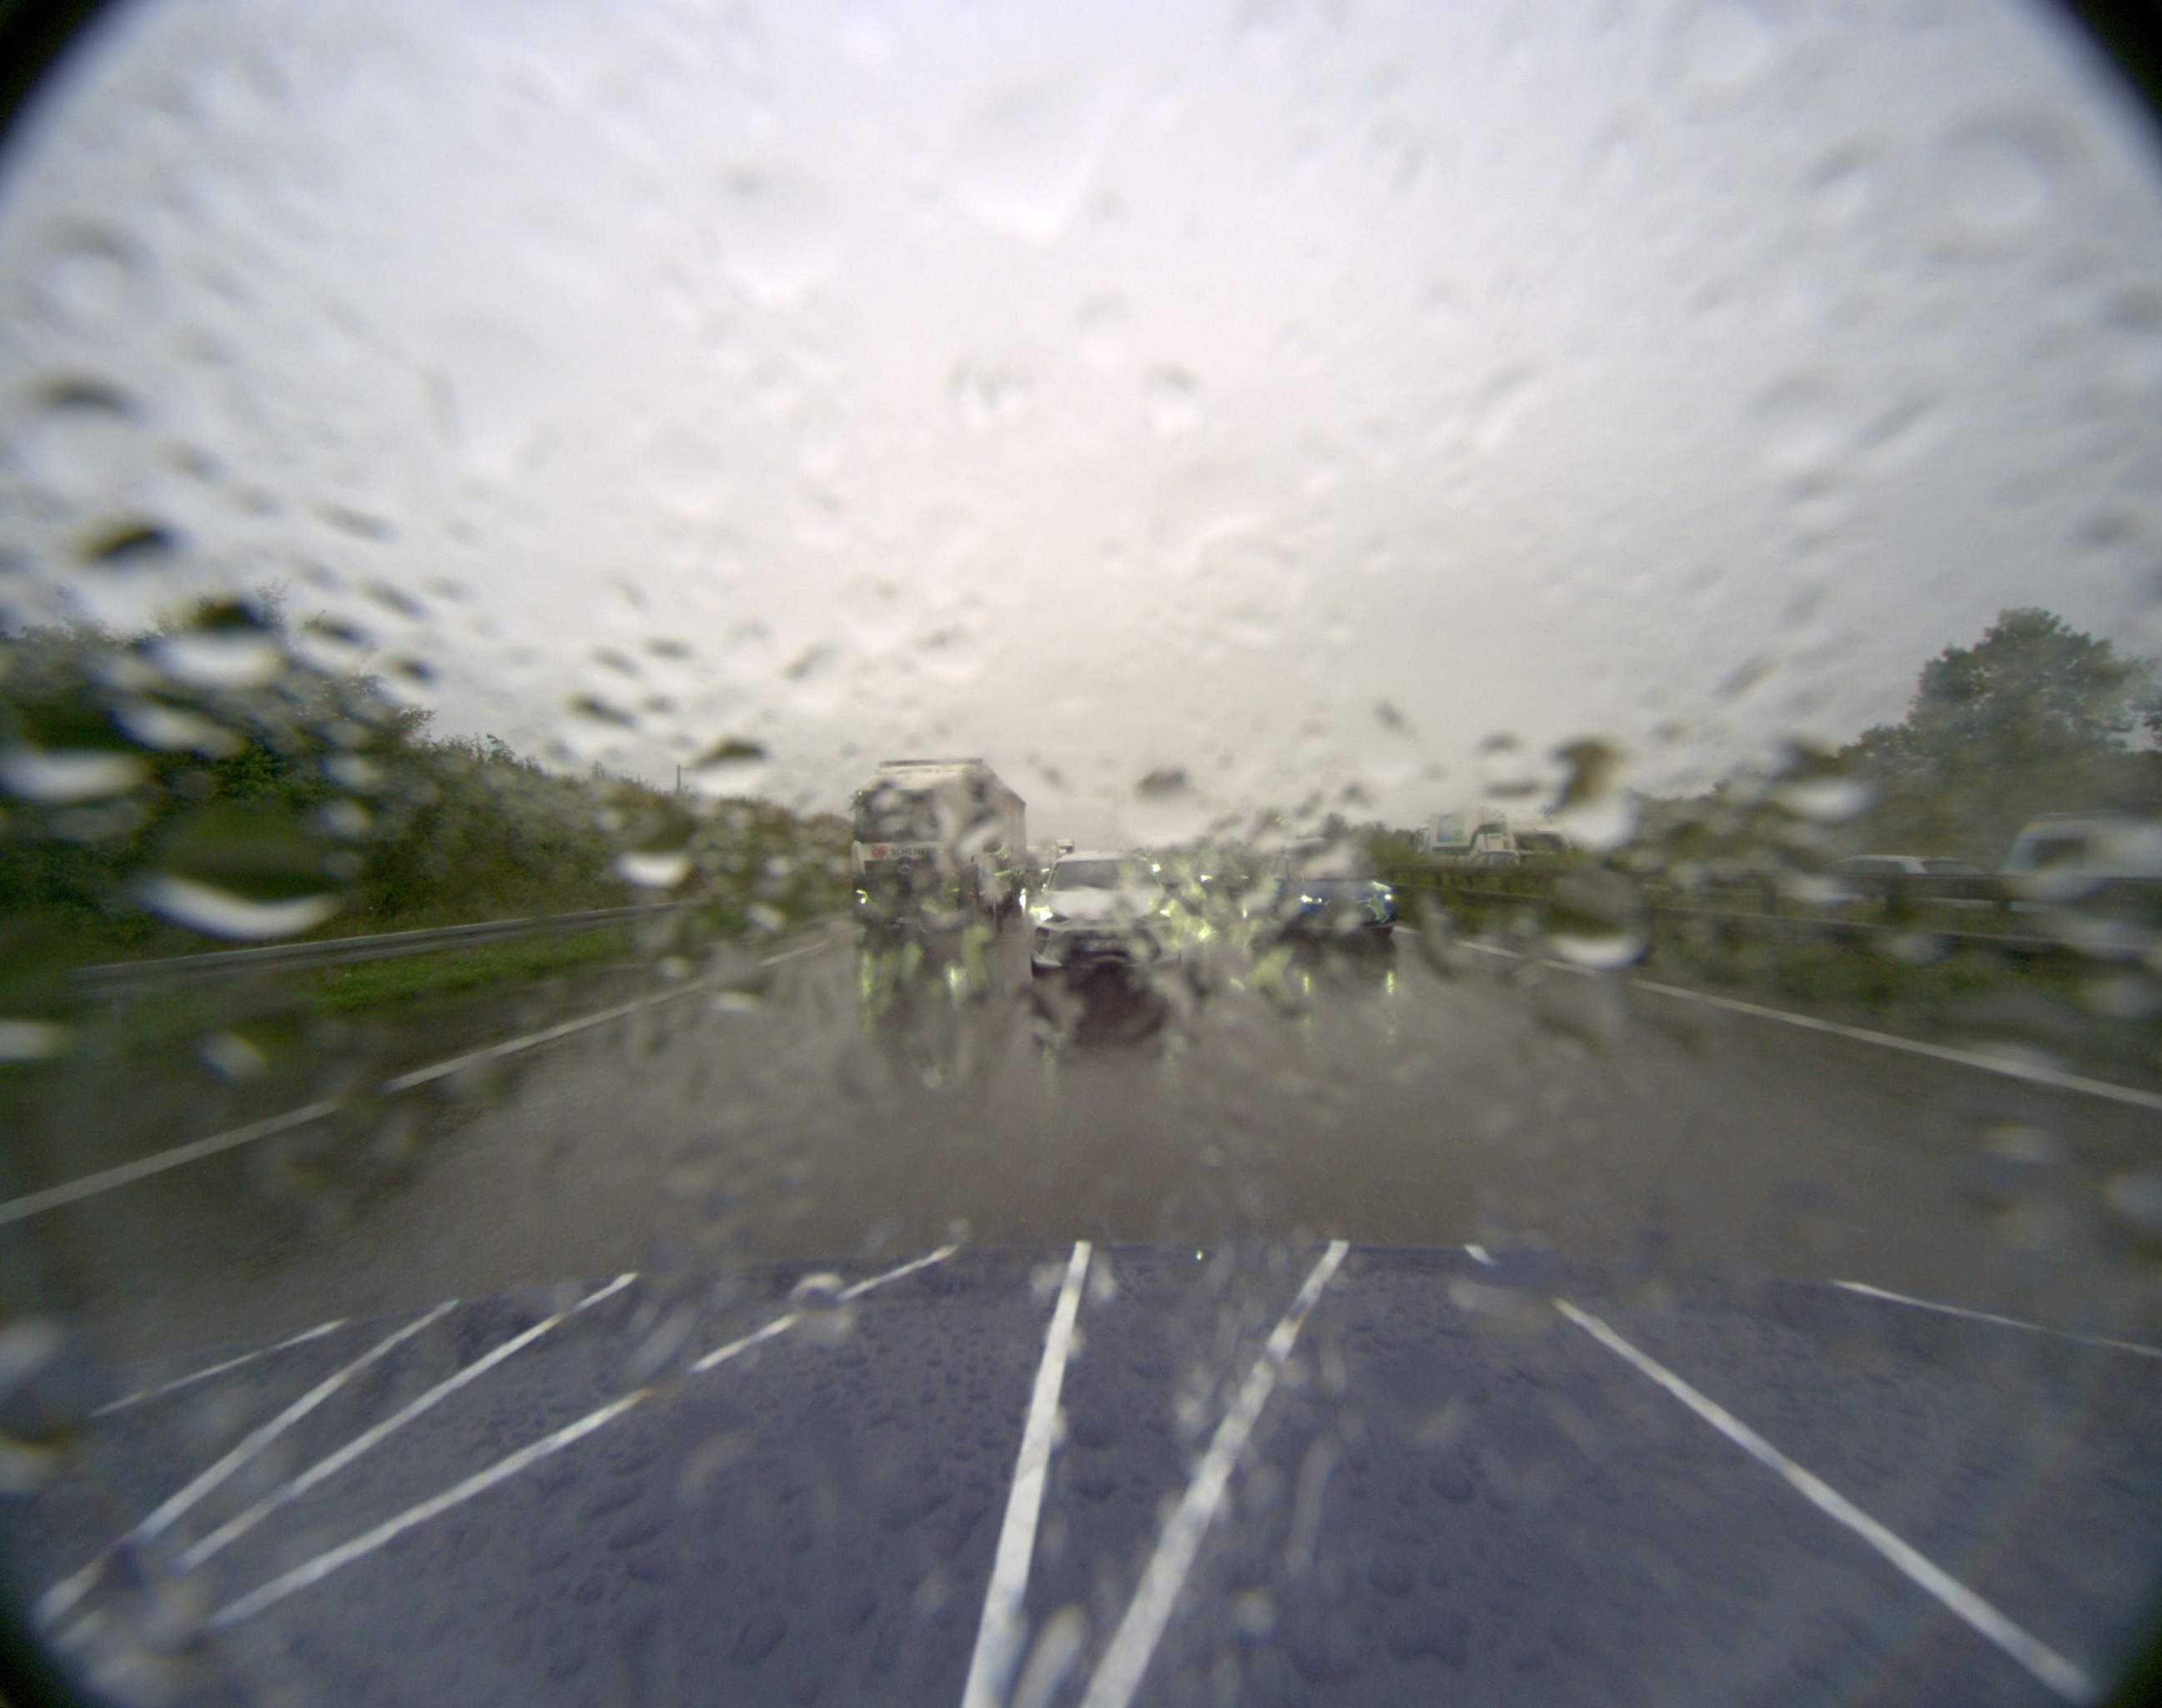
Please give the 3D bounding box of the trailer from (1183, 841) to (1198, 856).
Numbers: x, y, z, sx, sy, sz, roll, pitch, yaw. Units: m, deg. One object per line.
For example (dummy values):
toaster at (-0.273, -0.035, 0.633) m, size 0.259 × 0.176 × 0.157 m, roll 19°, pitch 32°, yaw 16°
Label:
trailer at (23.211, -1.160, 161.479) m, size 1.998 × 3.064 × 9.554 m, roll -1°, pitch 0°, yaw 1°

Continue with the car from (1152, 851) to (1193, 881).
car at (5.234, 0.667, 43.981) m, size 1.889 × 1.622 × 4.269 m, roll -1°, pitch 0°, yaw 0°

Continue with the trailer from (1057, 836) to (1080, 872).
trailer at (-1.649, 0.007, 104.046) m, size 2.628 × 4.635 × 9.222 m, roll -1°, pitch 0°, yaw 1°

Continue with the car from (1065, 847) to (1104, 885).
car at (0.231, 0.636, 42.162) m, size 1.998 × 2.002 × 4.000 m, roll -1°, pitch 0°, yaw 2°

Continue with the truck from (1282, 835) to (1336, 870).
truck at (22.364, -0.240, 75.139) m, size 2.561 × 3.279 × 9.346 m, roll 0°, pitch 2°, yaw 1°

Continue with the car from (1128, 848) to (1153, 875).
car at (4.776, 0.593, 61.166) m, size 1.888 × 2.002 × 4.270 m, roll -1°, pitch 0°, yaw 4°

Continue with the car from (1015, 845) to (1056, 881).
car at (-2.718, 0.487, 46.140) m, size 1.946 × 2.002 × 4.446 m, roll -2°, pitch 1°, yaw 3°

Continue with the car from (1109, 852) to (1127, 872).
car at (4.026, 0.830, 82.254) m, size 1.737 × 2.002 × 4.223 m, roll -1°, pitch 0°, yaw 1°

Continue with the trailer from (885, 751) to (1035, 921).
trailer at (-3.490, -0.512, 26.311) m, size 2.633 × 4.224 × 14.175 m, roll -2°, pitch 1°, yaw 1°

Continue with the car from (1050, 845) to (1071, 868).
car at (-2.055, 0.221, 77.971) m, size 1.998 × 2.231 × 4.000 m, roll -1°, pitch 0°, yaw 1°

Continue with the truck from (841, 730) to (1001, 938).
truck at (-3.577, -0.429, 18.255) m, size 2.633 × 4.229 × 5.042 m, roll -2°, pitch 1°, yaw 0°

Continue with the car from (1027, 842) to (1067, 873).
car at (-2.308, 0.196, 52.642) m, size 2.260 × 2.002 × 4.270 m, roll -2°, pitch 1°, yaw 4°

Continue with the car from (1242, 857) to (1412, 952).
car at (4.424, 0.817, 14.439) m, size 1.790 × 1.467 × 4.512 m, roll -1°, pitch 0°, yaw 1°

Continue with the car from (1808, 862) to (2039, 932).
car at (20.599, 0.979, 18.839) m, size 1.679 × 1.528 × 3.661 m, roll -1°, pitch 0°, yaw 1°

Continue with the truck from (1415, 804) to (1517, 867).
truck at (17.748, -0.860, 35.310) m, size 2.487 × 2.704 × 4.527 m, roll 0°, pitch 2°, yaw 2°

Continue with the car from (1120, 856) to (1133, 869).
car at (5.731, 1.044, 96.266) m, size 1.458 × 1.540 × 2.804 m, roll 0°, pitch 2°, yaw 1°

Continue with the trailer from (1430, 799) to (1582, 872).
trailer at (17.666, -0.782, 32.242) m, size 2.487 × 2.704 × 7.322 m, roll 0°, pitch 2°, yaw 2°

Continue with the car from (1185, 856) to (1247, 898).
car at (5.027, 0.801, 28.837) m, size 1.613 × 1.428 × 4.370 m, roll -1°, pitch 0°, yaw 1°

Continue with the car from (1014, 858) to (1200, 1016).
car at (0.291, 0.876, 9.910) m, size 1.893 × 1.578 × 4.000 m, roll -2°, pitch 0°, yaw 1°

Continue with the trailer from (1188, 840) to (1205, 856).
trailer at (23.132, -1.144, 152.266) m, size 1.998 × 3.064 × 8.872 m, roll -1°, pitch 0°, yaw 1°

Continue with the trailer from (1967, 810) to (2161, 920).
trailer at (20.778, 0.196, 14.210) m, size 2.097 × 2.002 × 5.348 m, roll 0°, pitch 2°, yaw 0°

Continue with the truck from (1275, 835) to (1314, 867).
truck at (22.395, -0.323, 79.813) m, size 2.548 × 3.261 × 5.197 m, roll 1°, pitch 1°, yaw 0°

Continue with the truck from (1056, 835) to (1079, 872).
truck at (-1.738, -0.036, 98.865) m, size 2.628 × 4.635 × 4.290 m, roll -1°, pitch 0°, yaw 1°

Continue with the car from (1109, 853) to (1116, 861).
car at (6.364, 0.650, 152.814) m, size 1.279 × 1.567 × 2.848 m, roll -1°, pitch 0°, yaw 0°
